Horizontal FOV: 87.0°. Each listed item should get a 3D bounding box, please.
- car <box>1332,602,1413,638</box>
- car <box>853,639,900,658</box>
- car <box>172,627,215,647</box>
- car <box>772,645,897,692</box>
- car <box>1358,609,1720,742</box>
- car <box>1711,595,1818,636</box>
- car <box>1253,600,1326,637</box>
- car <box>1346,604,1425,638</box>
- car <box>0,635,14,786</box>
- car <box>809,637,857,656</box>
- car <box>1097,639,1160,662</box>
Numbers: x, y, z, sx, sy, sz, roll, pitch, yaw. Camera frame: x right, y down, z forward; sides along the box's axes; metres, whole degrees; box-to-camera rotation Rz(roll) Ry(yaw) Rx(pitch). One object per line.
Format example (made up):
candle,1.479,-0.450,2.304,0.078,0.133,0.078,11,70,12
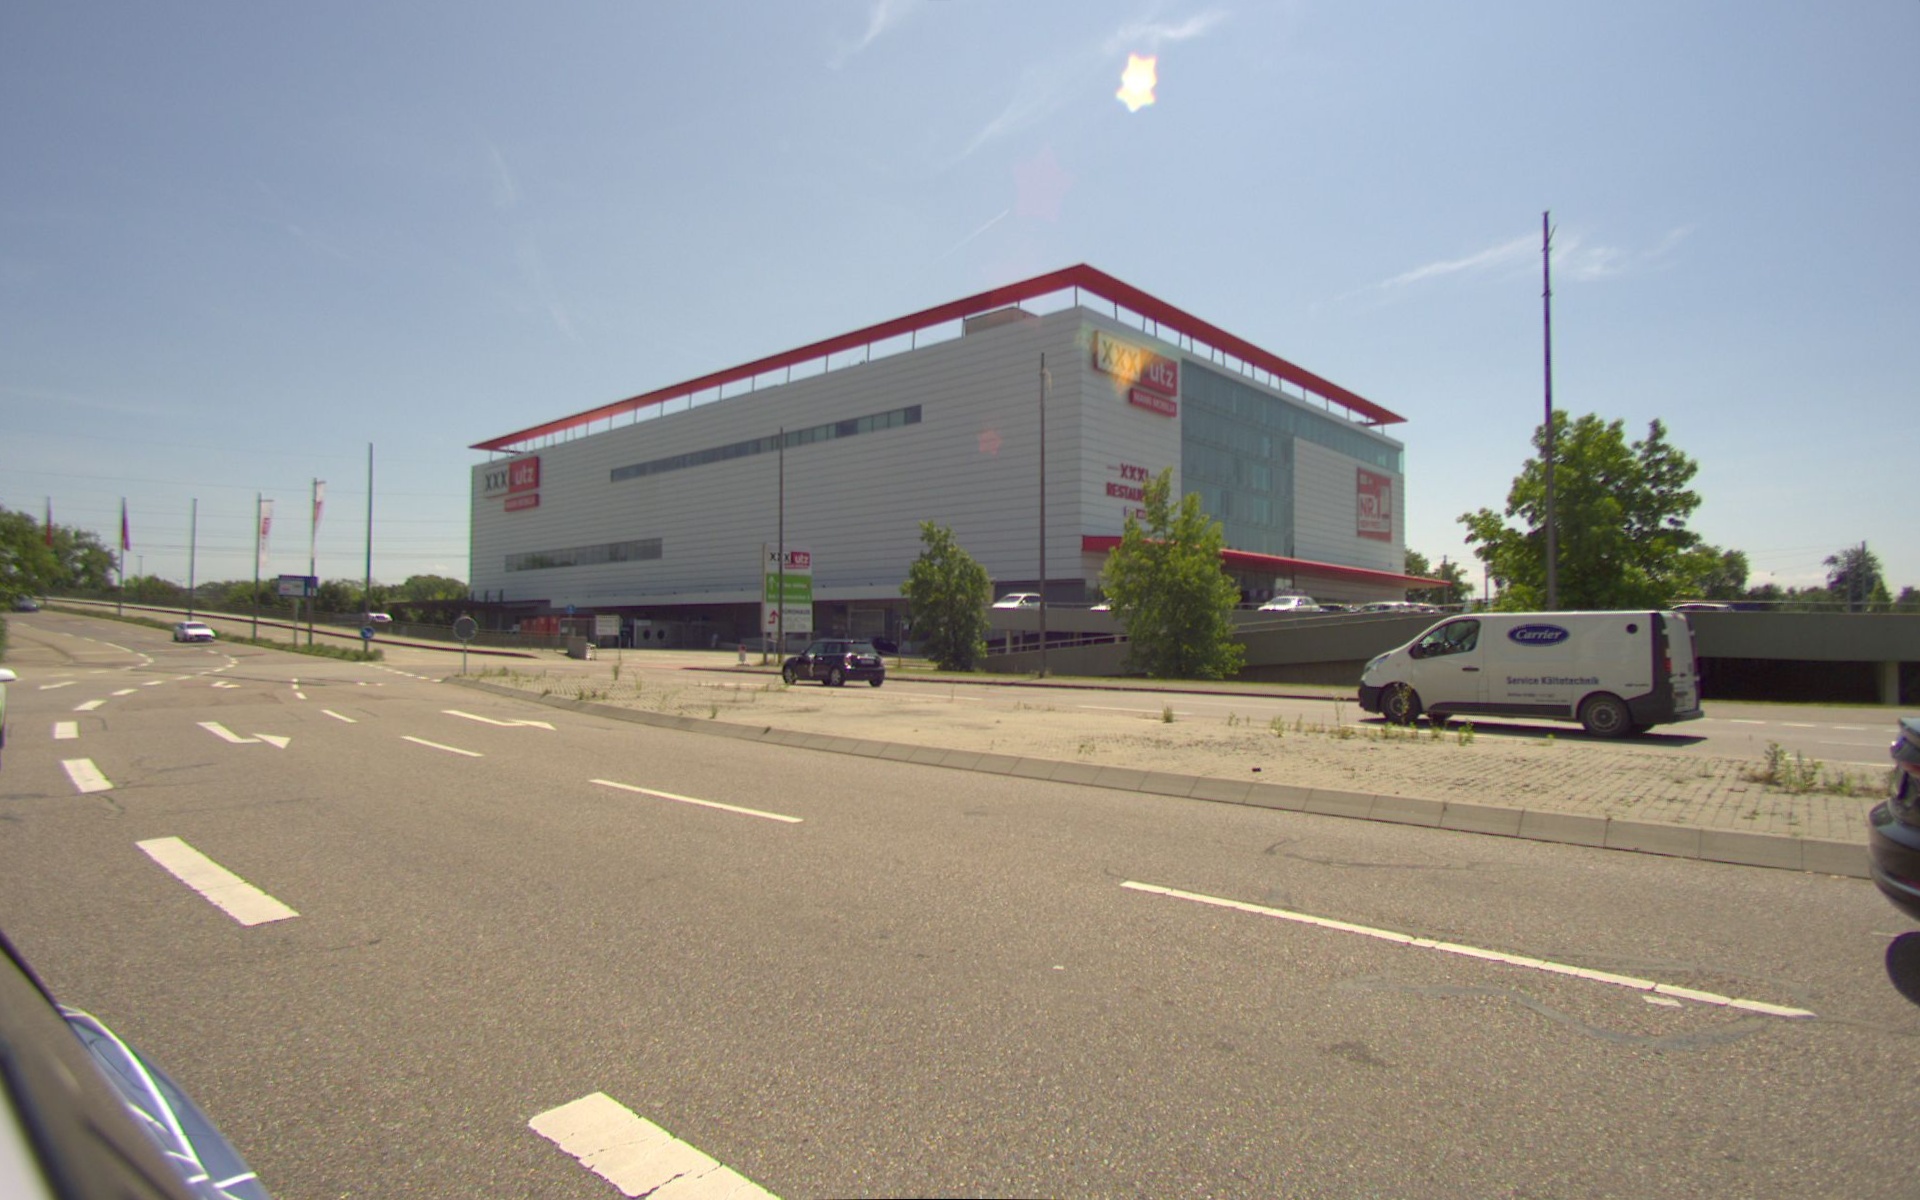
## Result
car,24.247,1.215,59.576,3.998,2.029,1.972,-1,-3,42
car,-6.827,3.958,83.054,1.959,1.507,3.437,-1,-3,42
car,-58.451,2.826,77.152,4.226,1.461,1.713,-2,-3,40
car,-3.871,2.052,30.856,1.834,1.312,3.896,4,-4,-44
car,9.322,1.163,16.670,1.808,1.864,4.846,4,-4,-42
car,39.459,0.822,49.731,3.995,1.923,1.974,-2,-3,38
car,16.688,0.978,51.141,2.000,1.781,4.141,-1,-3,43
car,25.709,1.293,61.253,3.998,2.029,1.972,-1,-3,42
car,-11.371,1.084,10.379,4.401,1.436,1.857,-2,-2,39
car,-10.815,3.955,86.252,1.910,1.632,3.699,-1,-3,40
car,12.833,3.839,77.227,4.408,1.701,1.975,-1,-3,37
